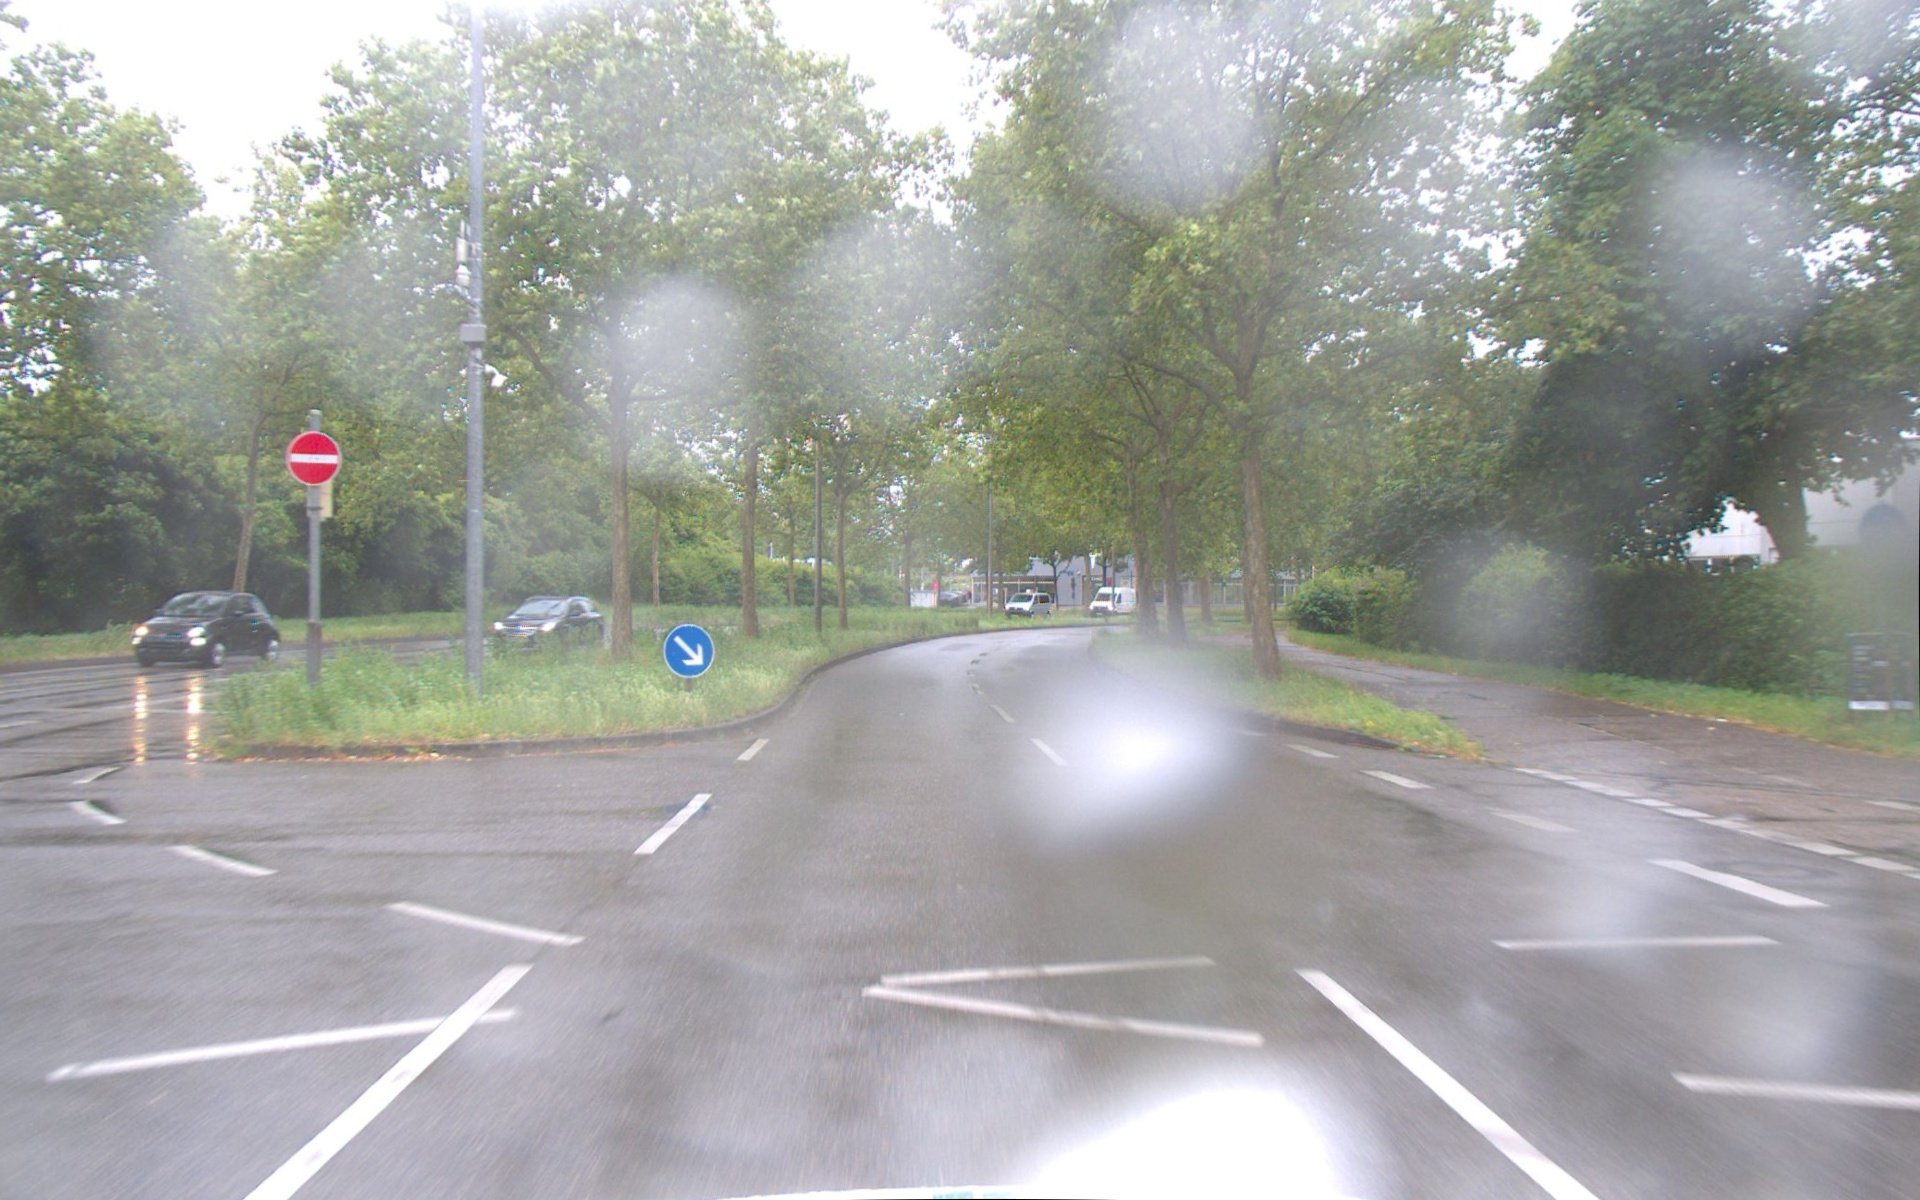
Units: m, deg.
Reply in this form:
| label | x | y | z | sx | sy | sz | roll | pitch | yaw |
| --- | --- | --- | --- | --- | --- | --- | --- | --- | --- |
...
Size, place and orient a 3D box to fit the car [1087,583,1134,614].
| label | x | y | z | sx | sy | sz | roll | pitch | yaw |
| --- | --- | --- | --- | --- | --- | --- | --- | --- | --- |
| car | 11.780 | -0.133 | 129.328 | 2.235 | 2.311 | 5.969 | 0 | 0 | 20 |

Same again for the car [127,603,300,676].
| label | x | y | z | sx | sy | sz | roll | pitch | yaw |
| --- | --- | --- | --- | --- | --- | --- | --- | --- | --- |
| car | -15.398 | 0.778 | 34.364 | 1.554 | 1.397 | 4.263 | 0 | 0 | 2 |

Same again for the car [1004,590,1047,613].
| label | x | y | z | sx | sy | sz | roll | pitch | yaw |
| --- | --- | --- | --- | --- | --- | --- | --- | --- | --- |
| car | 4.541 | 0.102 | 113.909 | 1.930 | 1.591 | 4.734 | 0 | 0 | 15 |

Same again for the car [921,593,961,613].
| label | x | y | z | sx | sy | sz | roll | pitch | yaw |
| --- | --- | --- | --- | --- | --- | --- | --- | --- | --- |
| car | -1.982 | 0.298 | 172.577 | 3.913 | 2.049 | 1.996 | 0 | -2 | -9 |

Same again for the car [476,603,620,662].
| label | x | y | z | sx | sy | sz | roll | pitch | yaw |
| --- | --- | --- | --- | --- | --- | --- | --- | --- | --- |
| car | -10.965 | 0.837 | 44.416 | 1.960 | 1.477 | 4.995 | 0 | 0 | 9 |
